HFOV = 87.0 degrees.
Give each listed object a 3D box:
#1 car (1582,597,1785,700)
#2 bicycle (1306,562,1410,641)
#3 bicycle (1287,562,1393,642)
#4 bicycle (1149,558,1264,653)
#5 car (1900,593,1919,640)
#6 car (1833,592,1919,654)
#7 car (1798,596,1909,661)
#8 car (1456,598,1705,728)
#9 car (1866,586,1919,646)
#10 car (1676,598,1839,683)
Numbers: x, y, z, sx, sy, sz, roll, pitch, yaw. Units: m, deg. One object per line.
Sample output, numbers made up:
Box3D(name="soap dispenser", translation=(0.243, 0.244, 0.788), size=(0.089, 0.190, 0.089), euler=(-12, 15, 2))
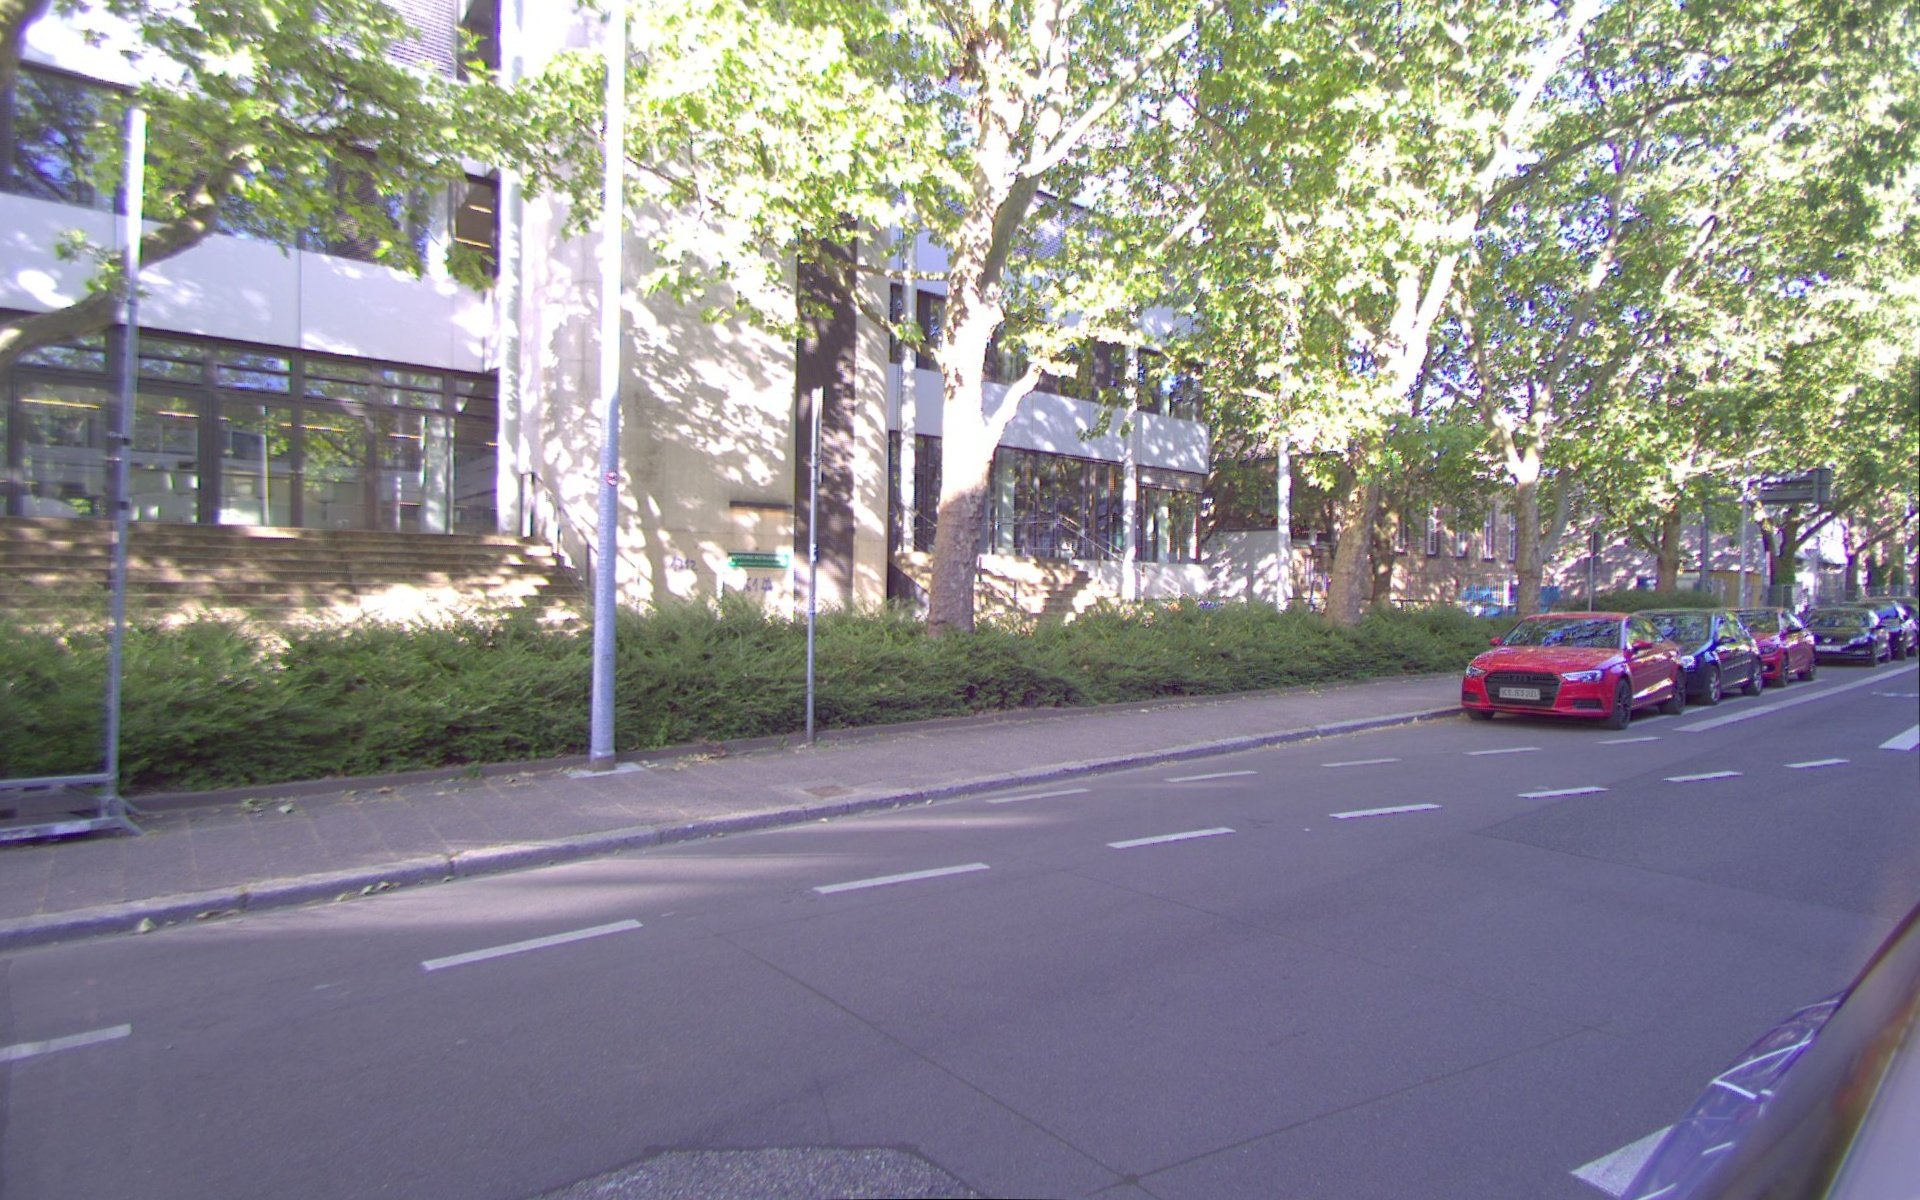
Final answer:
Box3D(name="car", translation=(11.913, 0.715, 16.582), size=(3.992, 1.485, 1.696), euler=(0, -1, -39))
Box3D(name="bicycle", translation=(10.767, 0.017, 27.477), size=(0.729, 2.039, 2.603), euler=(0, 1, -40))
Box3D(name="bicycle", translation=(10.054, 0.027, 26.907), size=(0.729, 2.039, 2.603), euler=(0, 1, -40))
Box3D(name="bicycle", translation=(5.526, 0.088, 22.867), size=(0.729, 2.039, 2.603), euler=(0, 1, -40))
Box3D(name="car", translation=(36.085, 0.579, 37.328), size=(4.256, 1.648, 1.694), euler=(0, -1, -43))
Box3D(name="car", translation=(26.725, 0.618, 29.180), size=(4.541, 1.648, 1.778), euler=(0, -1, -42))
Box3D(name="car", translation=(22.832, 0.687, 25.829), size=(3.952, 1.523, 1.694), euler=(0, -1, -43))
Box3D(name="car", translation=(8.431, 0.732, 13.583), size=(4.360, 1.468, 1.694), euler=(0, -1, -43))
Box3D(name="car", translation=(31.083, 0.507, 33.267), size=(1.823, 1.865, 4.826), euler=(-2, -1, 41))
Box3D(name="car", translation=(15.802, 0.728, 19.985), size=(4.242, 1.498, 1.696), euler=(0, -1, -40))
